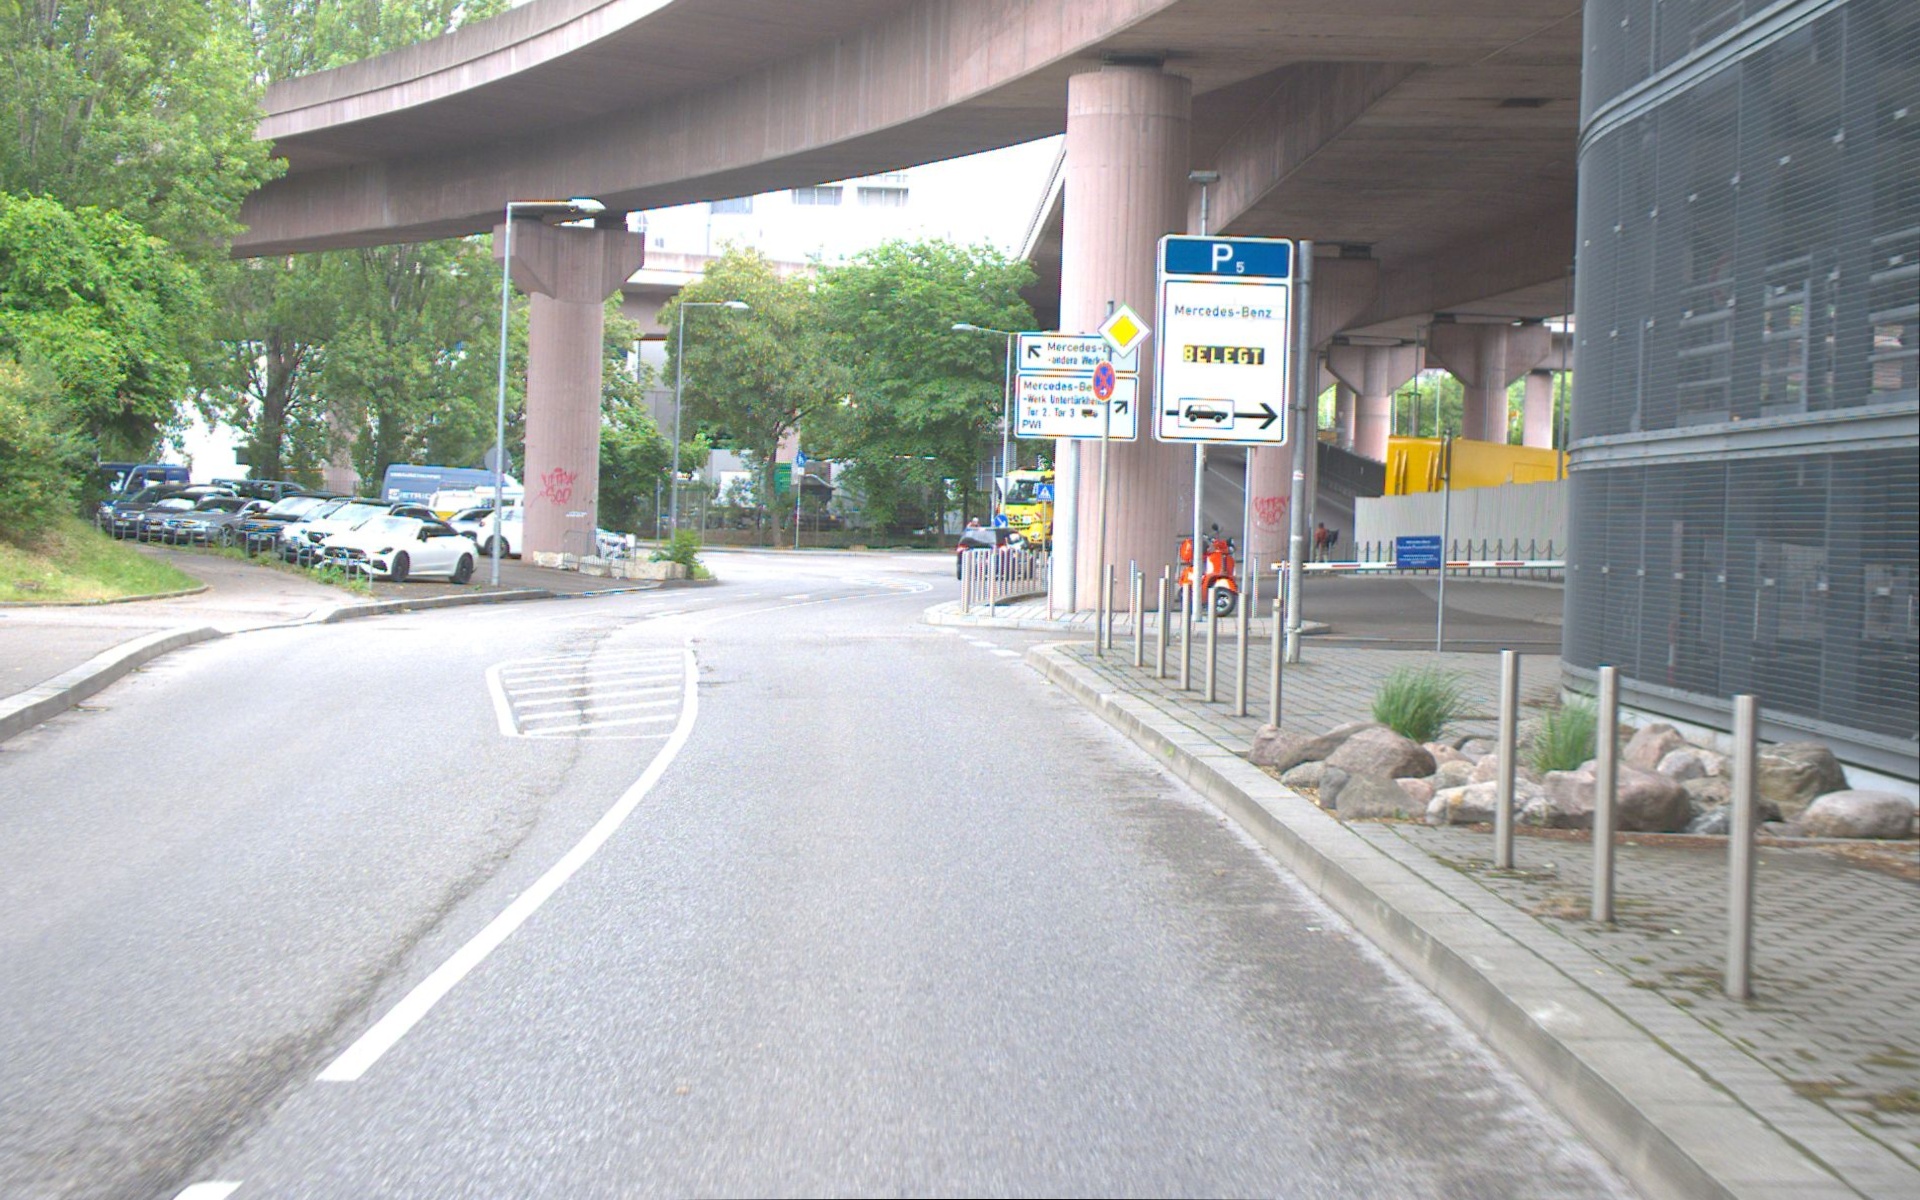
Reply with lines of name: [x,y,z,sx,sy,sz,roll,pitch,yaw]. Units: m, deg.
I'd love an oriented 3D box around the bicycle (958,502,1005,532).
bicycle: [0.806,-3.128,129.707,0.802,1.094,2.131,-1,2,-31]

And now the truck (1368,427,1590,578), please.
truck: [17.796,-3.293,117.413,3.145,4.900,8.696,3,2,42]

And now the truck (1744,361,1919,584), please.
truck: [22.015,-2.901,80.176,3.145,4.907,9.703,2,2,40]

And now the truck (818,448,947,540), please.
truck: [-3.527,-4.752,153.104,3.065,3.854,8.051,0,3,-22]

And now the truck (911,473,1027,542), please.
truck: [0.372,-4.160,153.835,2.914,2.888,6.561,0,3,-22]

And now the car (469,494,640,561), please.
car: [-11.599,-2.079,98.527,4.383,1.600,1.953,4,2,12]

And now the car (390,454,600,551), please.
car: [-14.465,-3.035,107.246,6.174,2.715,2.368,3,2,-1]

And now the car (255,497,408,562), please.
car: [-14.858,-1.666,81.429,1.789,1.449,3.742,2,1,22]

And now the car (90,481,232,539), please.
car: [-23.267,-2.622,100.249,1.897,1.670,4.149,1,2,25]

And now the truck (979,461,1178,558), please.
truck: [4.726,-3.643,136.046,2.935,3.468,8.224,7,7,45]

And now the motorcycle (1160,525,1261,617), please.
motorcycle: [3.863,-0.458,53.137,0.795,1.362,2.130,0,2,-18]

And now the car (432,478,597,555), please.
car: [-13.490,-2.540,104.233,4.557,2.104,1.850,3,2,8]

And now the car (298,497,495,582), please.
car: [-12.070,-1.282,73.956,1.996,1.474,4.823,6,1,19]

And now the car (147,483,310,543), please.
car: [-19.989,-2.367,94.155,1.859,1.482,4.883,5,3,23]

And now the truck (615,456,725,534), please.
truck: [-14.668,-5.318,173.527,3.054,3.606,7.918,0,4,-24]

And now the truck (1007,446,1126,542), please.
truck: [4.995,-5.082,163.117,3.065,4.284,8.052,0,3,-17]

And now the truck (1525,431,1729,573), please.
truck: [24.265,-3.501,124.694,3.145,4.886,8.696,3,2,42]

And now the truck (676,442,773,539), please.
truck: [-12.175,-5.706,177.219,3.202,4.763,8.052,0,3,-17]

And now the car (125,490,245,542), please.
car: [-21.834,-2.364,96.970,1.645,1.436,3.732,1,2,17]

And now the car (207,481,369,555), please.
car: [-16.402,-1.986,84.107,1.859,1.685,4.159,3,1,23]

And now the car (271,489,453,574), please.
car: [-13.492,-1.530,77.811,1.996,1.577,4.395,6,1,20]

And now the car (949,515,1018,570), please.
car: [0.731,-1.873,111.129,1.993,1.673,4.561,2,1,-2]

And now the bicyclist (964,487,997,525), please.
bicyclist: [0.767,-3.541,129.763,0.796,1.400,1.066,-1,1,-31]
